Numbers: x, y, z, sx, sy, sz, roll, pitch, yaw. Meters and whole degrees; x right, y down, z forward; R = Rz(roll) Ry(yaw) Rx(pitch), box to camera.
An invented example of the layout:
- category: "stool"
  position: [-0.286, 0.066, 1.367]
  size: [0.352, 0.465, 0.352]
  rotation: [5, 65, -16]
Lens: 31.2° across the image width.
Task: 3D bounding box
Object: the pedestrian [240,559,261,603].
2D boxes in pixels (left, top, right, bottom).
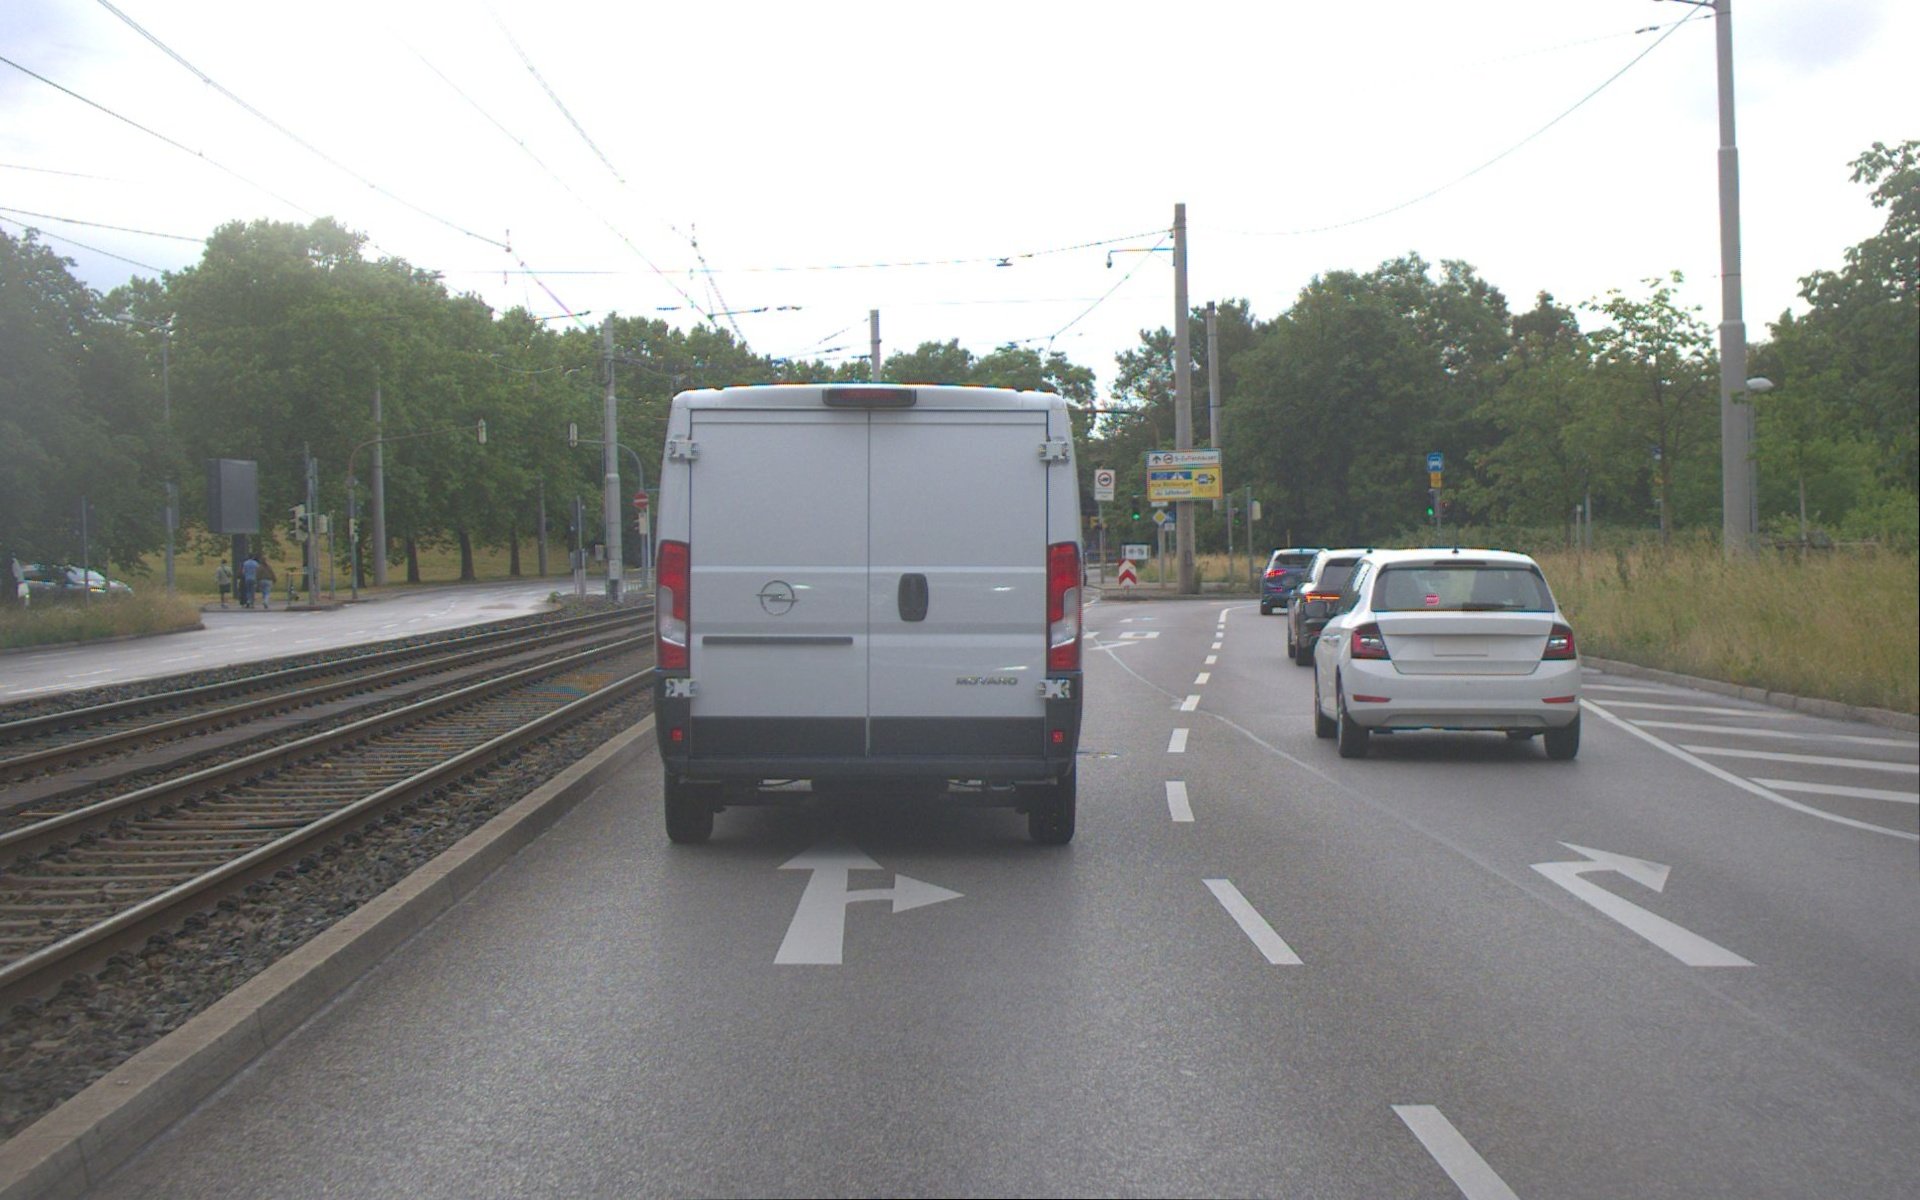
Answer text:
- category: "pedestrian"
  position: [-24.138, -0.647, 116.962]
  size: [0.496, 1.468, 0.722]
  rotation: [1, 1, 2]

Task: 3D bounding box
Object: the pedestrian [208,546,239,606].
- category: "pedestrian"
  position: [-24.997, -0.813, 116.743]
  size: [0.887, 2.007, 0.866]
  rotation: [-1, 1, -5]

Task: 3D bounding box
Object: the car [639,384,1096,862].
- category: "car"
  position: [-0.511, 0.051, 18.417]
  size: [2.090, 2.189, 5.062]
  rotation: [1, 1, -2]

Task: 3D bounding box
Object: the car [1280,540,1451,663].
- category: "car"
  position: [4.956, -0.001, 42.453]
  size: [1.789, 1.444, 4.000]
  rotation: [0, 1, 2]

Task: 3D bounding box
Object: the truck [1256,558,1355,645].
- category: "truck"
  position: [7.730, 0.016, 76.587]
  size: [1.994, 1.784, 4.413]
  rotation: [-1, 1, 8]

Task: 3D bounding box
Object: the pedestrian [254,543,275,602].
- category: "pedestrian"
  position: [-23.240, -0.928, 114.832]
  size: [0.496, 1.949, 0.722]
  rotation: [1, 1, 4]

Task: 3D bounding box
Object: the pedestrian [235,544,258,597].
- category: "pedestrian"
  position: [-23.914, -0.993, 115.243]
  size: [0.506, 1.781, 0.832]
  rotation: [1, 1, 5]

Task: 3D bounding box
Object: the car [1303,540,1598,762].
- category: "car"
  position: [3.480, 0.308, 24.947]
  size: [1.746, 1.452, 3.671]
  rotation: [1, 1, 3]
